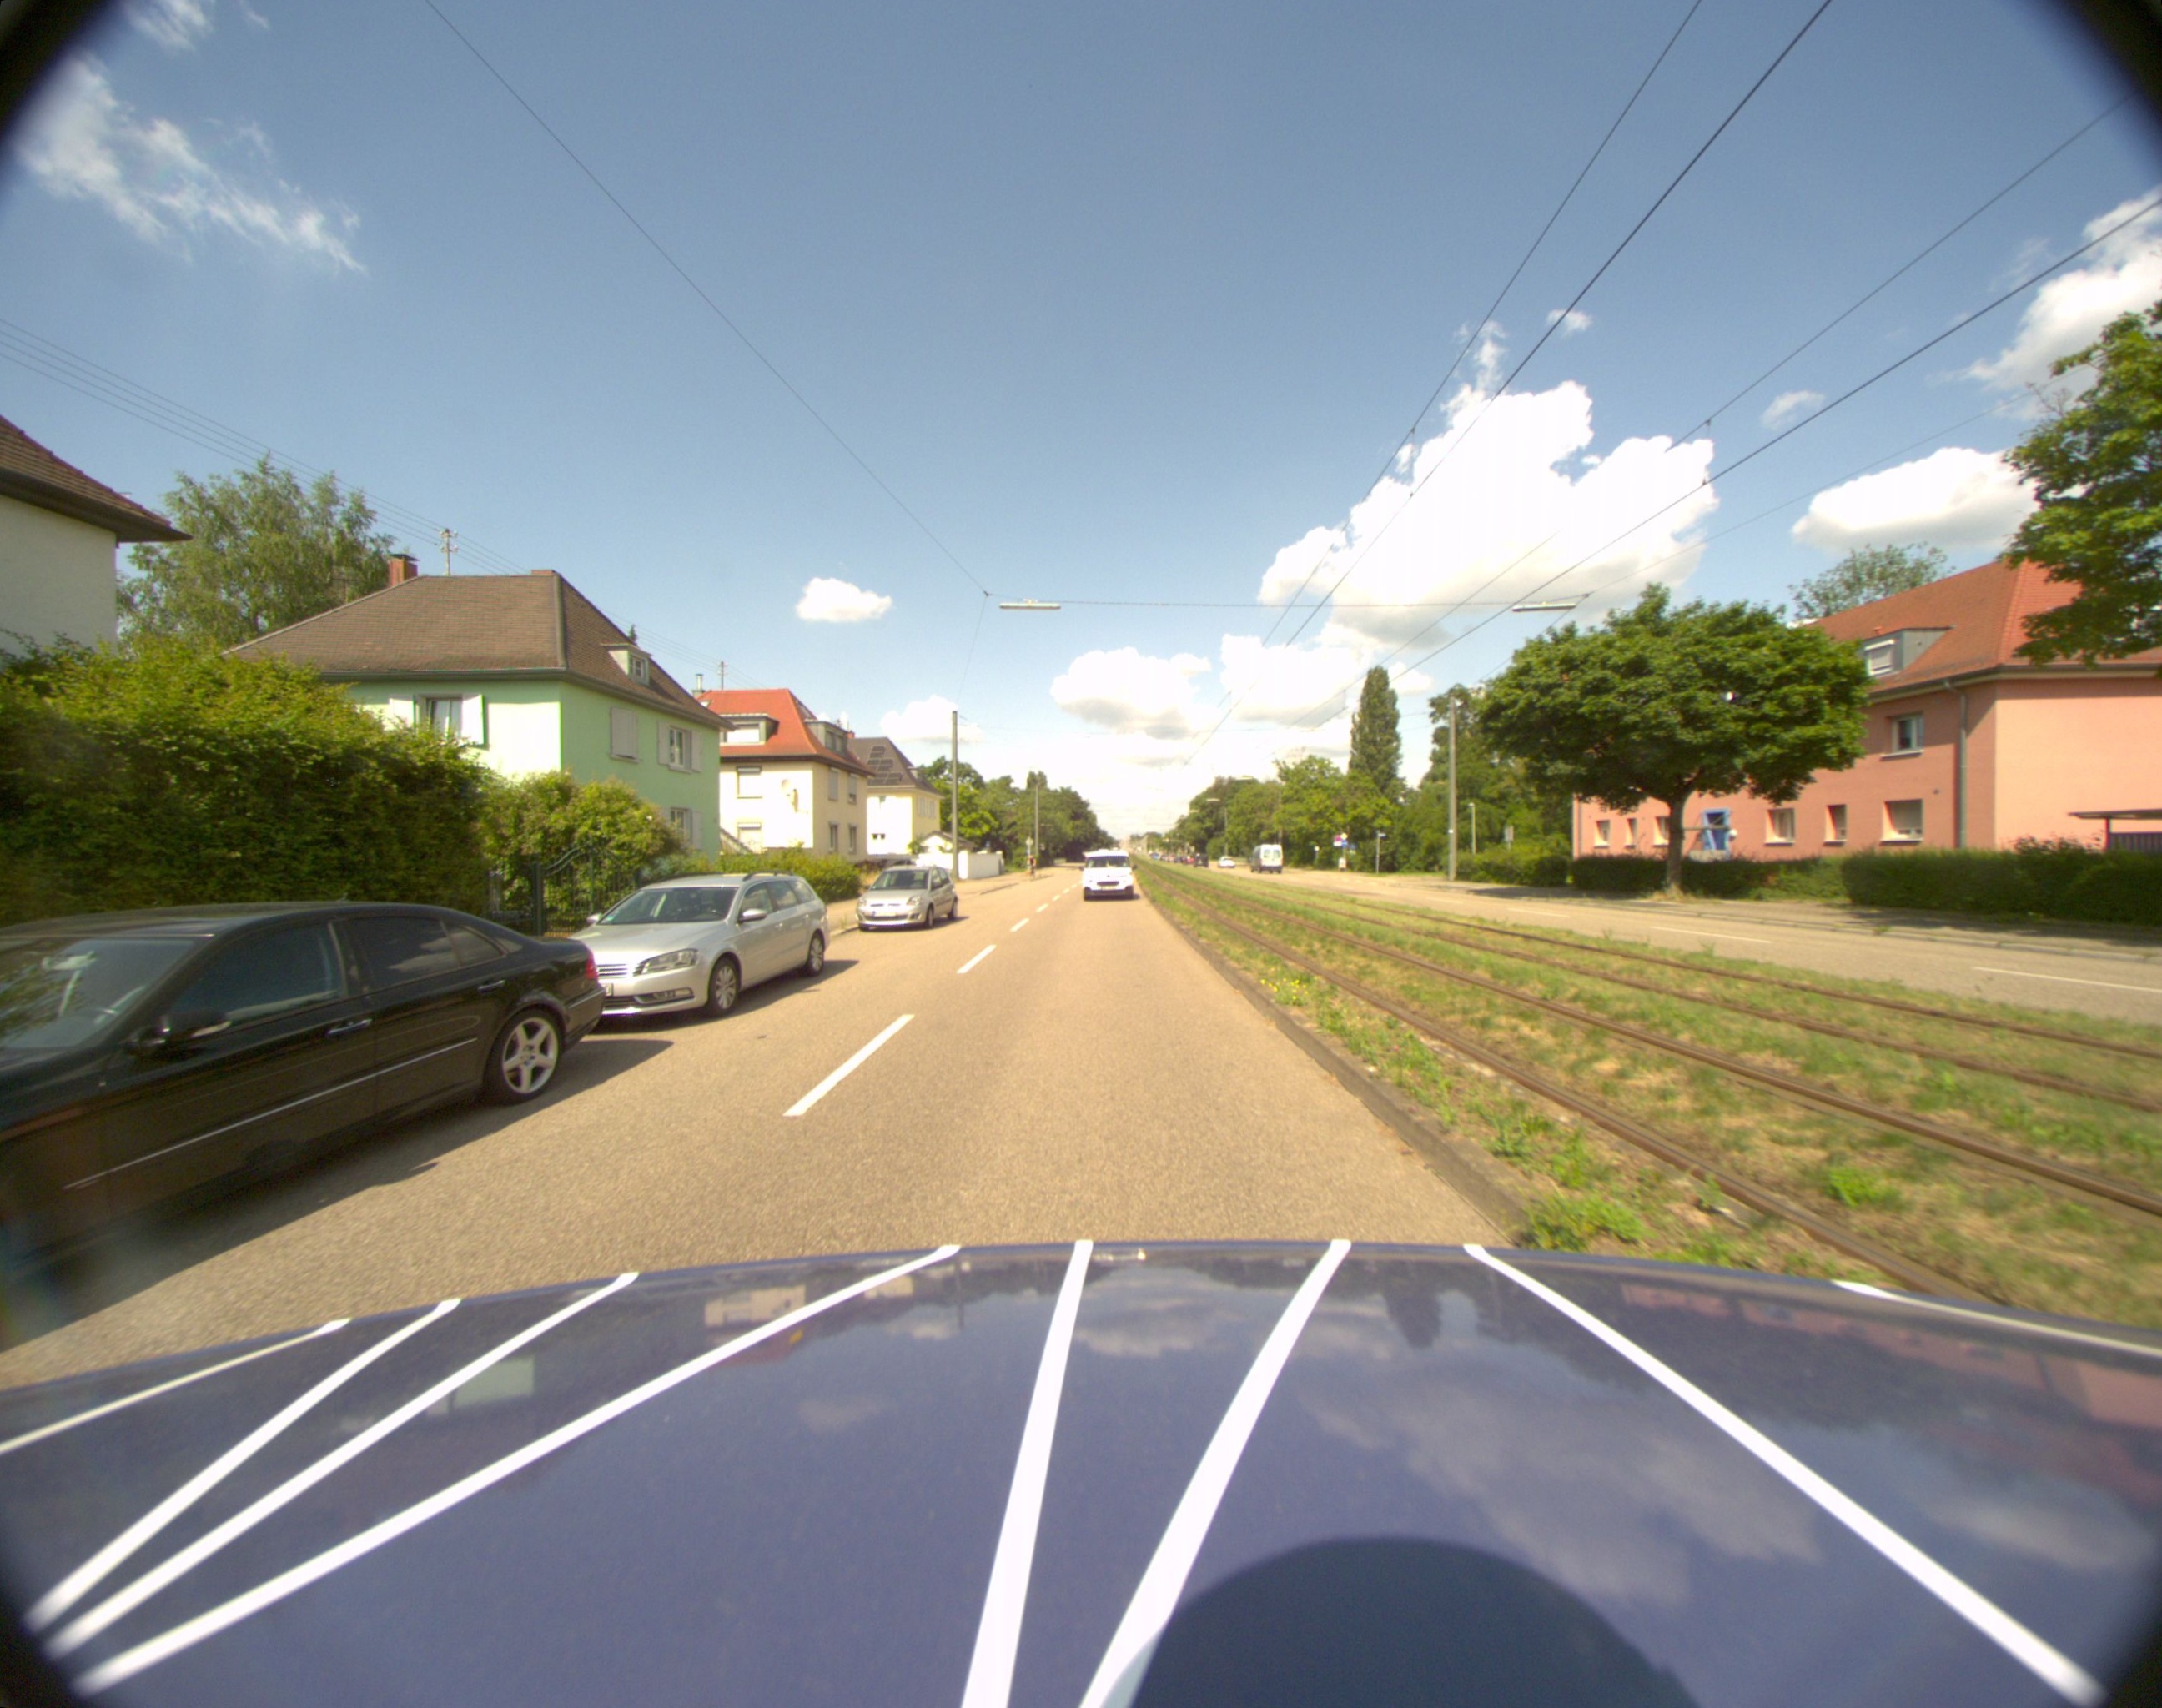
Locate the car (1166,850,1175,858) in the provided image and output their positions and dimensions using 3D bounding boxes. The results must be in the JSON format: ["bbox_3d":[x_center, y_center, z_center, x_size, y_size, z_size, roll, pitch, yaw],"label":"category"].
[{"bbox_3d":[20.101,0.032,171.003,1.921,1.642,4.277,-1,0,4],"label":"car"}]

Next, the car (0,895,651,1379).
[{"bbox_3d":[-4.612,1.096,3.806,1.904,1.435,5.058,-2,0,1],"label":"car"}]

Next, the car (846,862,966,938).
[{"bbox_3d":[-4.118,1.034,18.571,1.741,1.481,4.094,-2,1,3],"label":"car"}]

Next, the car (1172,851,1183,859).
[{"bbox_3d":[17.470,0.175,137.294,1.731,1.386,4.277,-1,0,4],"label":"car"}]

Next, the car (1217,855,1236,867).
[{"bbox_3d":[18.458,0.922,96.571,1.689,1.422,4.277,-1,0,3],"label":"car"}]

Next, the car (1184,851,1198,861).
[{"bbox_3d":[17.190,0.302,119.092,1.731,1.569,4.277,-1,0,2],"label":"car"}]

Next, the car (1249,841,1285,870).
[{"bbox_3d":[16.629,0.114,68.252,2.037,2.422,5.778,1,0,3],"label":"car"}]

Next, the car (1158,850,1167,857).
[{"bbox_3d":[20.093,-0.036,187.620,2.120,1.642,4.277,-1,0,4],"label":"car"}]

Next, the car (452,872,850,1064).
[{"bbox_3d":[-4.572,1.073,9.243,1.895,1.447,5.005,-2,1,0],"label":"car"}]

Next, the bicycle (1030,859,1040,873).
[{"bbox_3d":[-3.809,0.997,62.962,0.556,1.059,1.524,-1,0,9],"label":"bicycle"}]

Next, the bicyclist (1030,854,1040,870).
[{"bbox_3d":[-3.817,0.658,62.945,0.690,1.345,0.665,-1,1,9],"label":"bicyclist"}]

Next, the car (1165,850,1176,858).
[{"bbox_3d":[18.326,-0.069,155.775,2.120,1.642,4.277,-1,0,4],"label":"car"}]

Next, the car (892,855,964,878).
[{"bbox_3d":[-10.280,0.851,51.250,4.459,1.452,1.764,1,1,3],"label":"car"}]

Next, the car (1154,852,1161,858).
[{"bbox_3d":[23.855,0.300,237.482,2.120,1.642,4.277,-1,0,4],"label":"car"}]

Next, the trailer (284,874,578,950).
[{"bbox_3d":[-12.304,1.077,14.559,4.257,1.319,1.674,0,0,2],"label":"trailer"}]

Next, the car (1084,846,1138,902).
[{"bbox_3d":[1.053,0.658,28.152,1.777,1.850,4.375,-2,0,1],"label":"car"}]

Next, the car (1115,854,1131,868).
[{"bbox_3d":[5.470,0.908,99.698,1.998,1.576,4.000,-2,1,3],"label":"car"}]

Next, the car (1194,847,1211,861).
[{"bbox_3d":[15.581,0.032,97.823,1.689,1.736,4.228,-1,0,3],"label":"car"}]
